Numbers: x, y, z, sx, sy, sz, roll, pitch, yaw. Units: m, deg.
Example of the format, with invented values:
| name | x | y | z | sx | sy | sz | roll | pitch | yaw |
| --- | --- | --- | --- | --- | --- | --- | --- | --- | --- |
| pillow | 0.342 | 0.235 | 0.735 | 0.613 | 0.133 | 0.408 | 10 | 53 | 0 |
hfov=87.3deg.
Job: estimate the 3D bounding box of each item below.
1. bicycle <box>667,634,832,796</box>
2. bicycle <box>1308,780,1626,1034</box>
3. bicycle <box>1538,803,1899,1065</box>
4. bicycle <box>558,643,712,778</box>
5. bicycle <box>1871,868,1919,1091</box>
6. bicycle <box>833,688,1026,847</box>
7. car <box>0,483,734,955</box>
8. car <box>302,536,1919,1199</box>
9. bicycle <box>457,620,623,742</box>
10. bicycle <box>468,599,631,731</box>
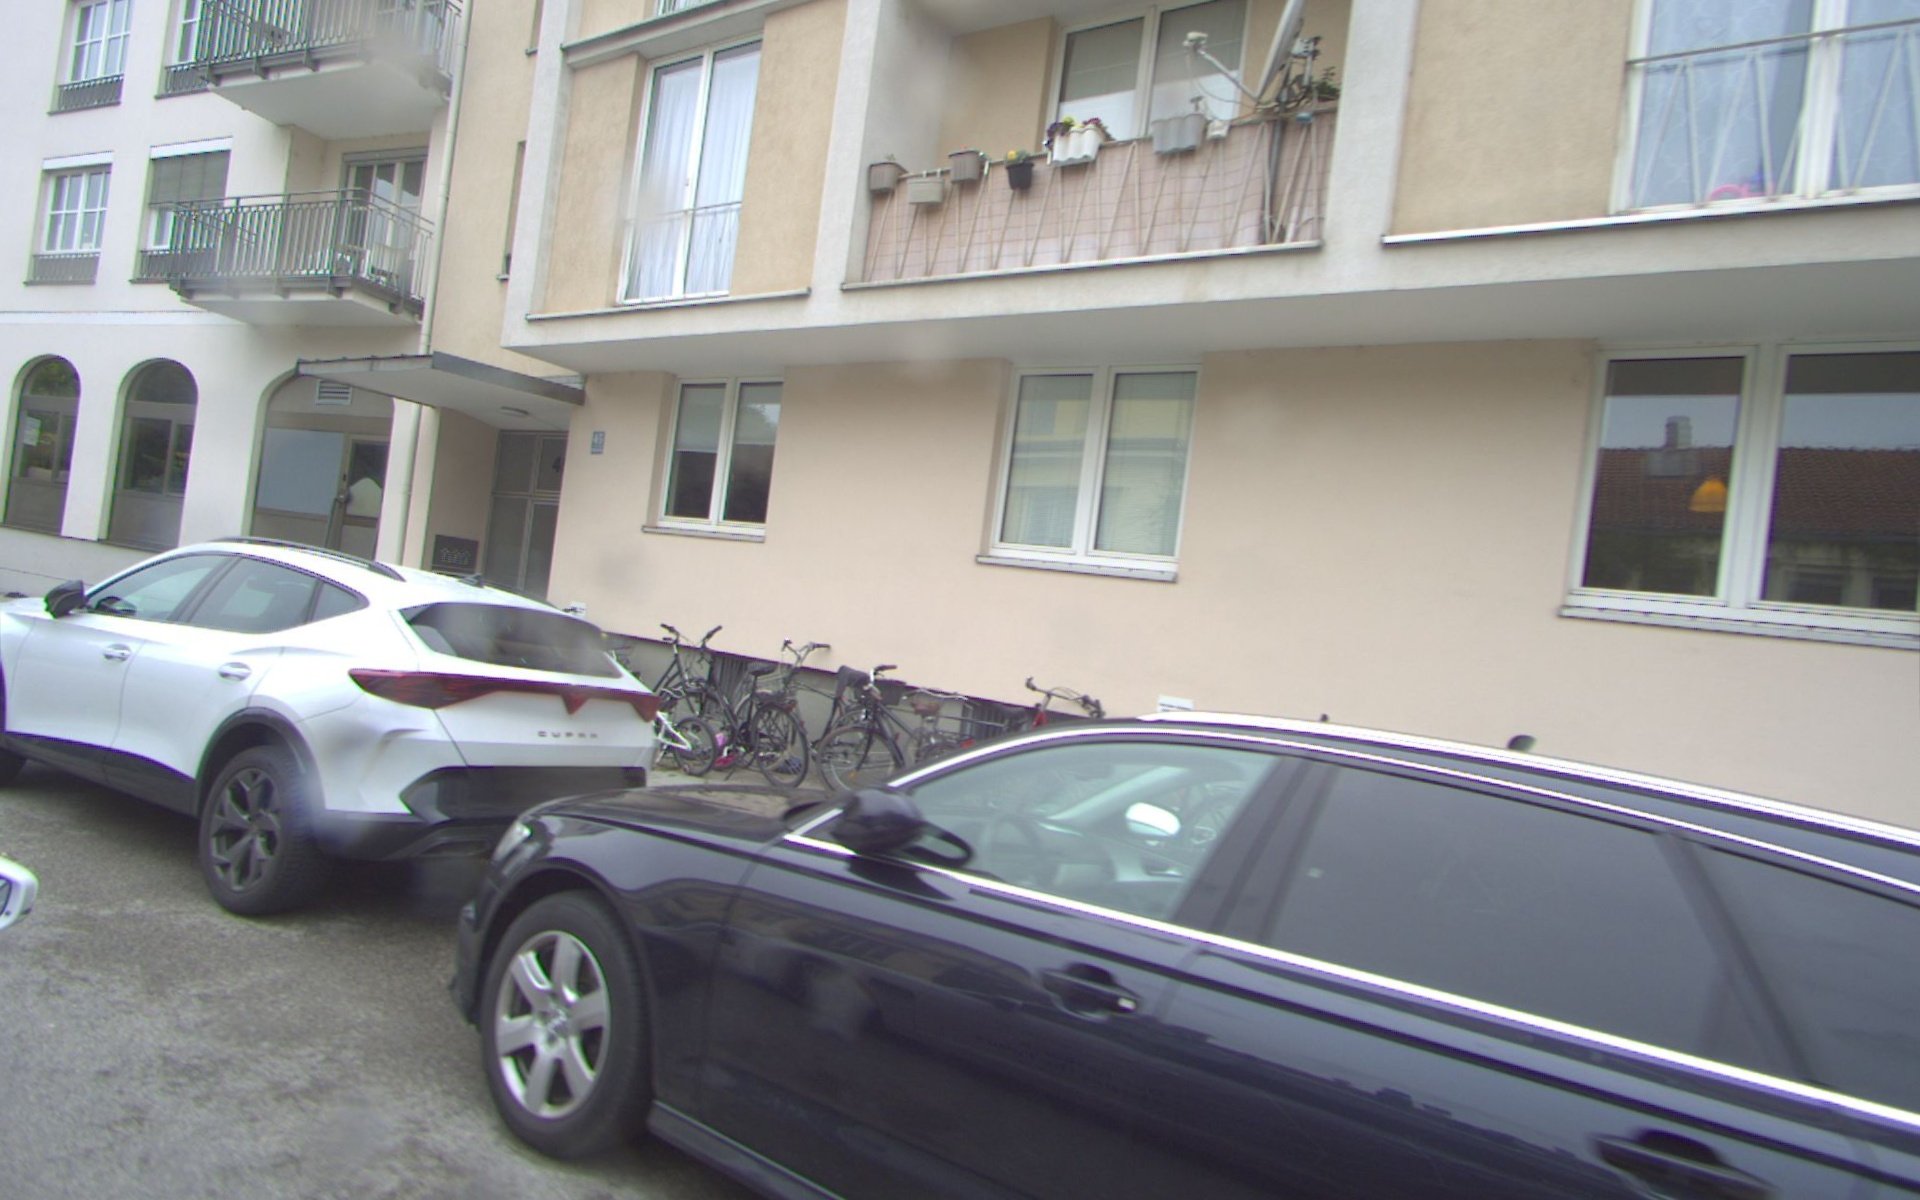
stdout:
| name | x | y | z | sx | sy | sz | roll | pitch | yaw |
| --- | --- | --- | --- | --- | --- | --- | --- | --- | --- |
| bicycle | -1.786 | 0.937 | 8.459 | 1.369 | 1.132 | 0.378 | 7 | -1 | 33 |
| bicycle | 2.630 | 1.549 | 5.299 | 1.369 | 0.916 | 0.378 | 7 | 1 | 33 |
| bicycle | 3.838 | 1.657 | 5.206 | 1.369 | 0.915 | 0.378 | 7 | -1 | 33 |
| bicycle | -2.775 | 0.914 | 8.540 | 1.369 | 0.915 | 0.378 | 7 | -1 | 33 |
| bicycle | 4.863 | 1.777 | 4.258 | 1.369 | 0.915 | 0.378 | 7 | -1 | 33 |
| bicycle | -0.250 | 1.215 | 7.517 | 1.369 | 0.915 | 0.378 | 7 | -1 | 33 |
| car | -3.710 | 0.400 | 5.513 | 4.566 | 1.549 | 1.793 | 7 | -4 | 27 |
| car | 0.648 | 0.942 | 2.646 | 5.078 | 1.538 | 1.886 | 7 | -5 | 32 |
| bicycle | -4.125 | 0.771 | 9.836 | 1.706 | 0.934 | 0.456 | 7 | -1 | 30 |
| bicycle | -4.347 | 0.663 | 10.606 | 1.822 | 1.123 | 0.456 | 7 | -1 | 30 |
